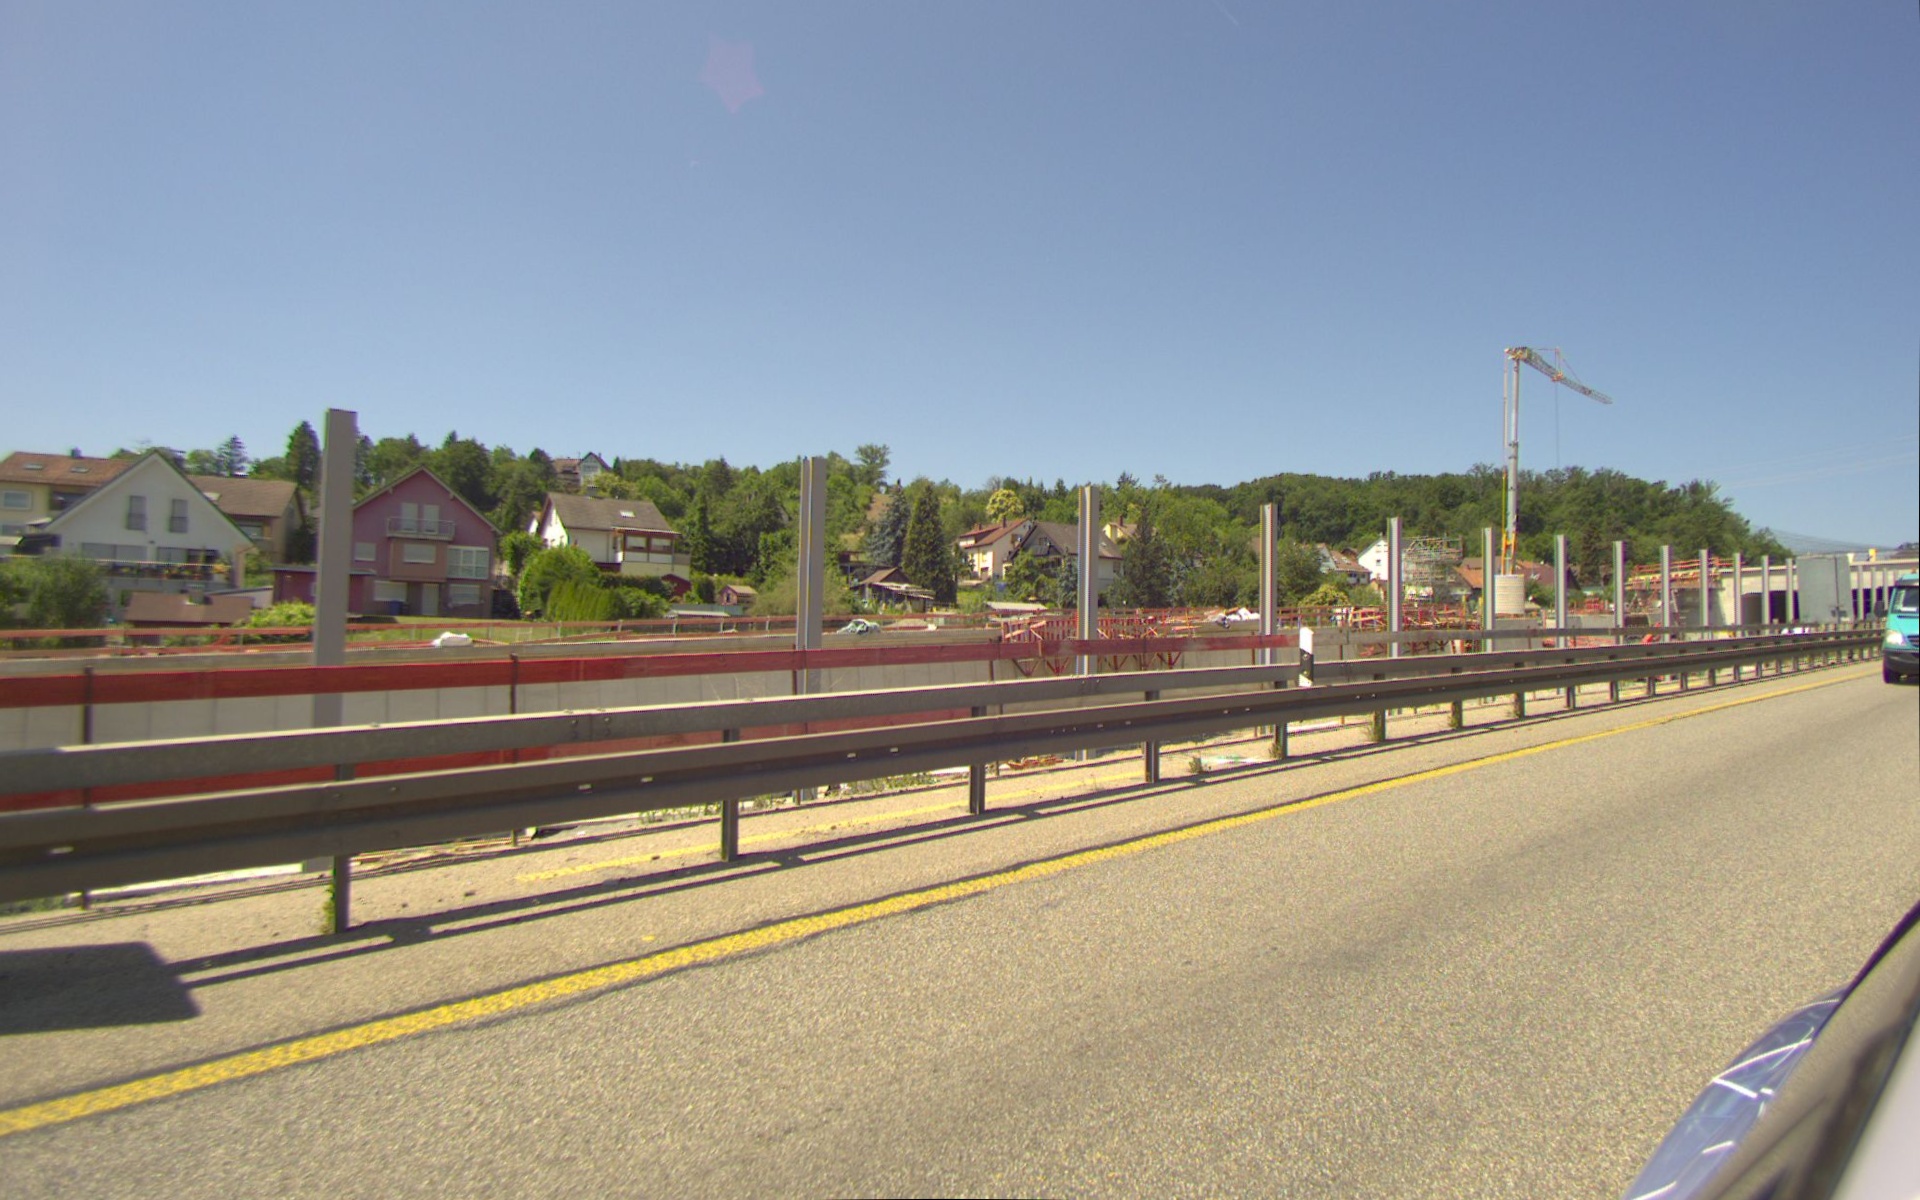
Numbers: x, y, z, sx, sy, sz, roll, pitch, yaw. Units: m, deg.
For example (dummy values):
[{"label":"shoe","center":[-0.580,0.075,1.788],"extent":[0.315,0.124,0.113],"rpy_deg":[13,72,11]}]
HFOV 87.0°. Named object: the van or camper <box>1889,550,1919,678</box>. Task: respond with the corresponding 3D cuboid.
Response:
[{"label":"van or camper","center":[21.941,0.288,21.722],"extent":[7.536,2.504,2.096],"rpy_deg":[0,0,-41]}]
